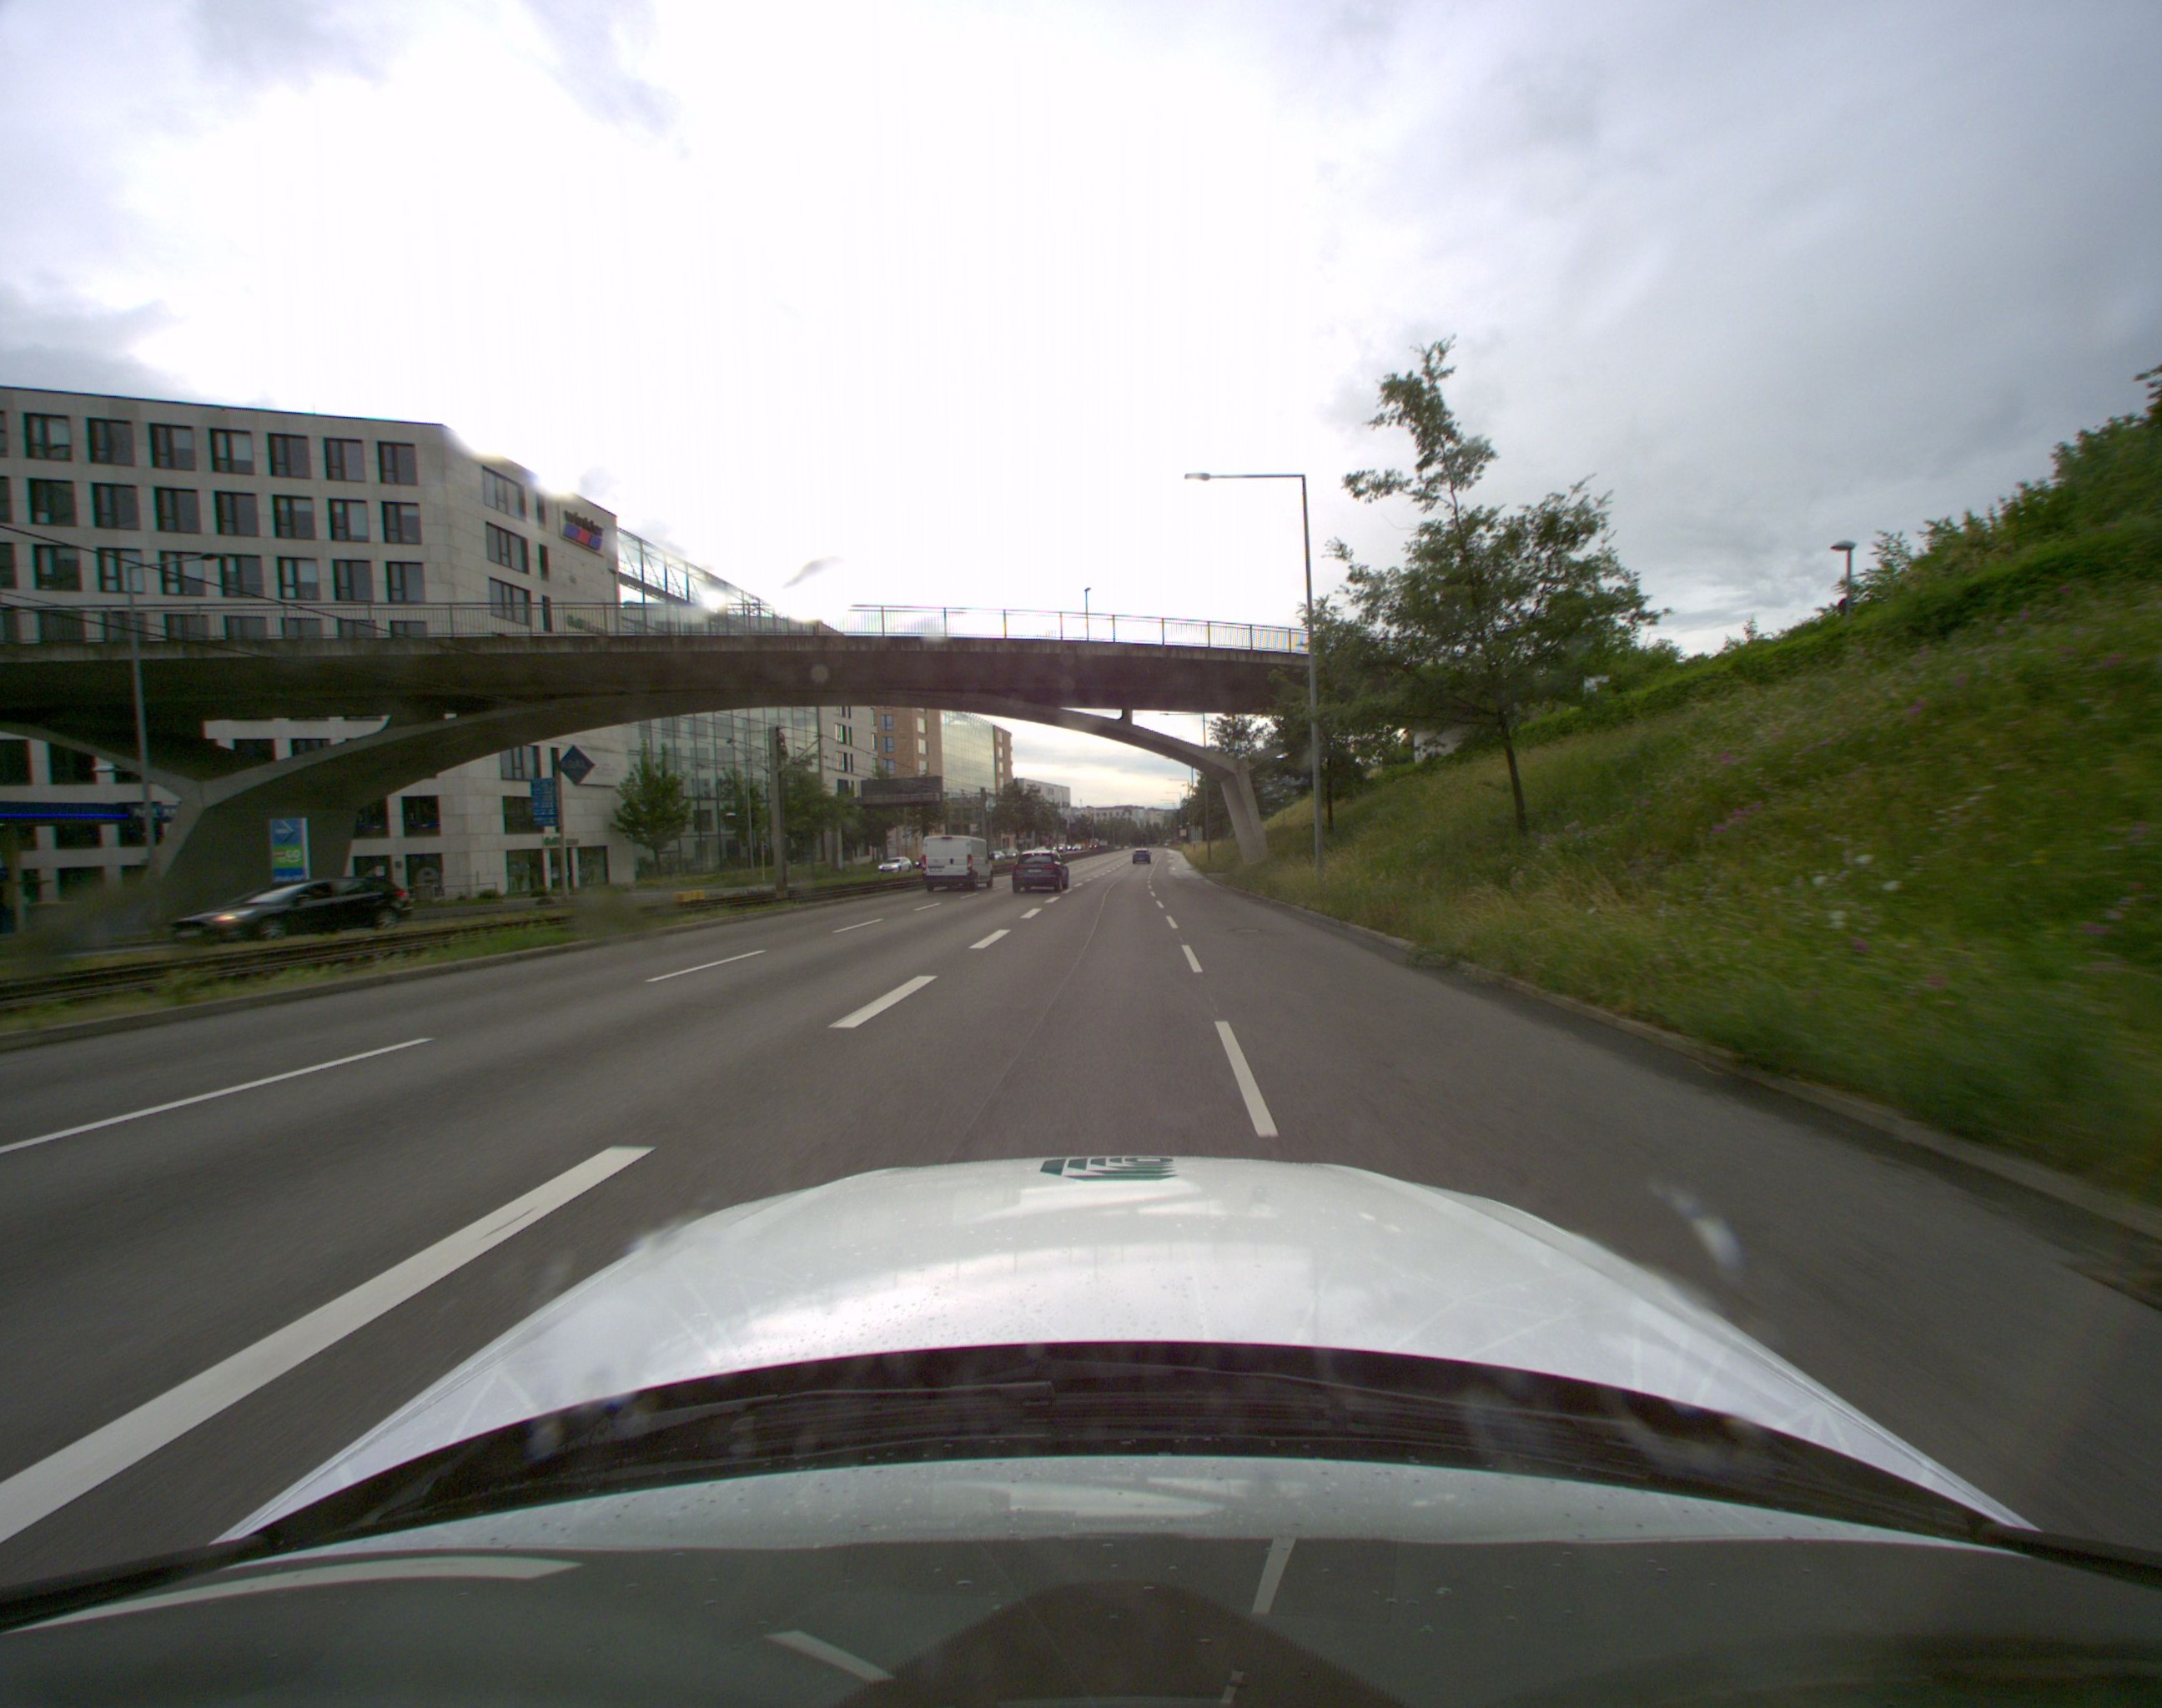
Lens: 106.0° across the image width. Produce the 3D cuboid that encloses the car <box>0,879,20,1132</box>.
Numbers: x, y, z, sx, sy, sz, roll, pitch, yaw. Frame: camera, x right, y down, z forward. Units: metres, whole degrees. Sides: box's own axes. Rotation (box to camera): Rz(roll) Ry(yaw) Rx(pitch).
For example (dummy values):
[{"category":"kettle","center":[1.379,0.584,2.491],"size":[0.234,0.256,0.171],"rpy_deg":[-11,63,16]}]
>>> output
[{"category":"car","center":[-7.151,0.856,2.310],"size":[1.777,1.414,4.812],"rpy_deg":[-1,0,5]}]

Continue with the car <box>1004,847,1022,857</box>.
[{"category":"car","center":[-10.330,-0.313,123.686],"size":[1.800,1.533,4.284],"rpy_deg":[0,1,7]}]

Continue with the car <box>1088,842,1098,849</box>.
[{"category":"car","center":[3.010,-2.015,198.204],"size":[1.927,1.761,4.820],"rpy_deg":[0,1,7]}]

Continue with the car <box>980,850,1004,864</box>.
[{"category":"car","center":[-10.849,0.314,99.695],"size":[1.755,1.597,4.802],"rpy_deg":[0,1,7]}]

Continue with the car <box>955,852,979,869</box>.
[{"category":"car","center":[-13.113,0.726,93.716],"size":[1.912,1.776,4.139],"rpy_deg":[0,1,4]}]

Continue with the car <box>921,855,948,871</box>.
[{"category":"car","center":[-16.848,1.016,93.833],"size":[1.755,1.597,4.500],"rpy_deg":[0,1,7]}]

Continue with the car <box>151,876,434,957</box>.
[{"category":"car","center":[-18.779,1.402,19.812],"size":[2.038,1.539,4.765],"rpy_deg":[0,1,4]}]

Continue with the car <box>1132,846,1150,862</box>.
[{"category":"car","center":[6.017,0.044,81.697],"size":[1.781,1.591,4.004],"rpy_deg":[0,-1,4]}]

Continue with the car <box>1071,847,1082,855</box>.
[{"category":"car","center":[-1.041,-0.789,192.455],"size":[1.927,1.761,4.820],"rpy_deg":[0,1,7]}]

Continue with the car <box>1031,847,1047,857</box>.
[{"category":"car","center":[-6.558,-0.382,127.616],"size":[1.800,1.533,4.879],"rpy_deg":[0,1,7]}]

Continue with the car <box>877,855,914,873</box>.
[{"category":"car","center":[-16.750,0.902,73.790],"size":[1.911,1.497,4.665],"rpy_deg":[0,1,6]}]

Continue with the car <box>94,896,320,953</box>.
[{"category":"car","center":[-24.713,1.935,23.248],"size":[1.777,1.287,3.993],"rpy_deg":[0,-1,14]}]

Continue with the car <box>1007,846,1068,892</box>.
[{"category":"car","center":[-1.661,0.593,32.461],"size":[1.914,1.710,4.102],"rpy_deg":[0,-1,4]}]

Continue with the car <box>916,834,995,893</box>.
[{"category":"car","center":[-5.205,0.334,34.495],"size":[2.258,2.284,4.765],"rpy_deg":[0,1,4]}]

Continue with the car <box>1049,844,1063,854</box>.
[{"category":"car","center":[-4.933,-0.999,160.588],"size":[1.927,1.761,5.072],"rpy_deg":[0,1,7]}]
